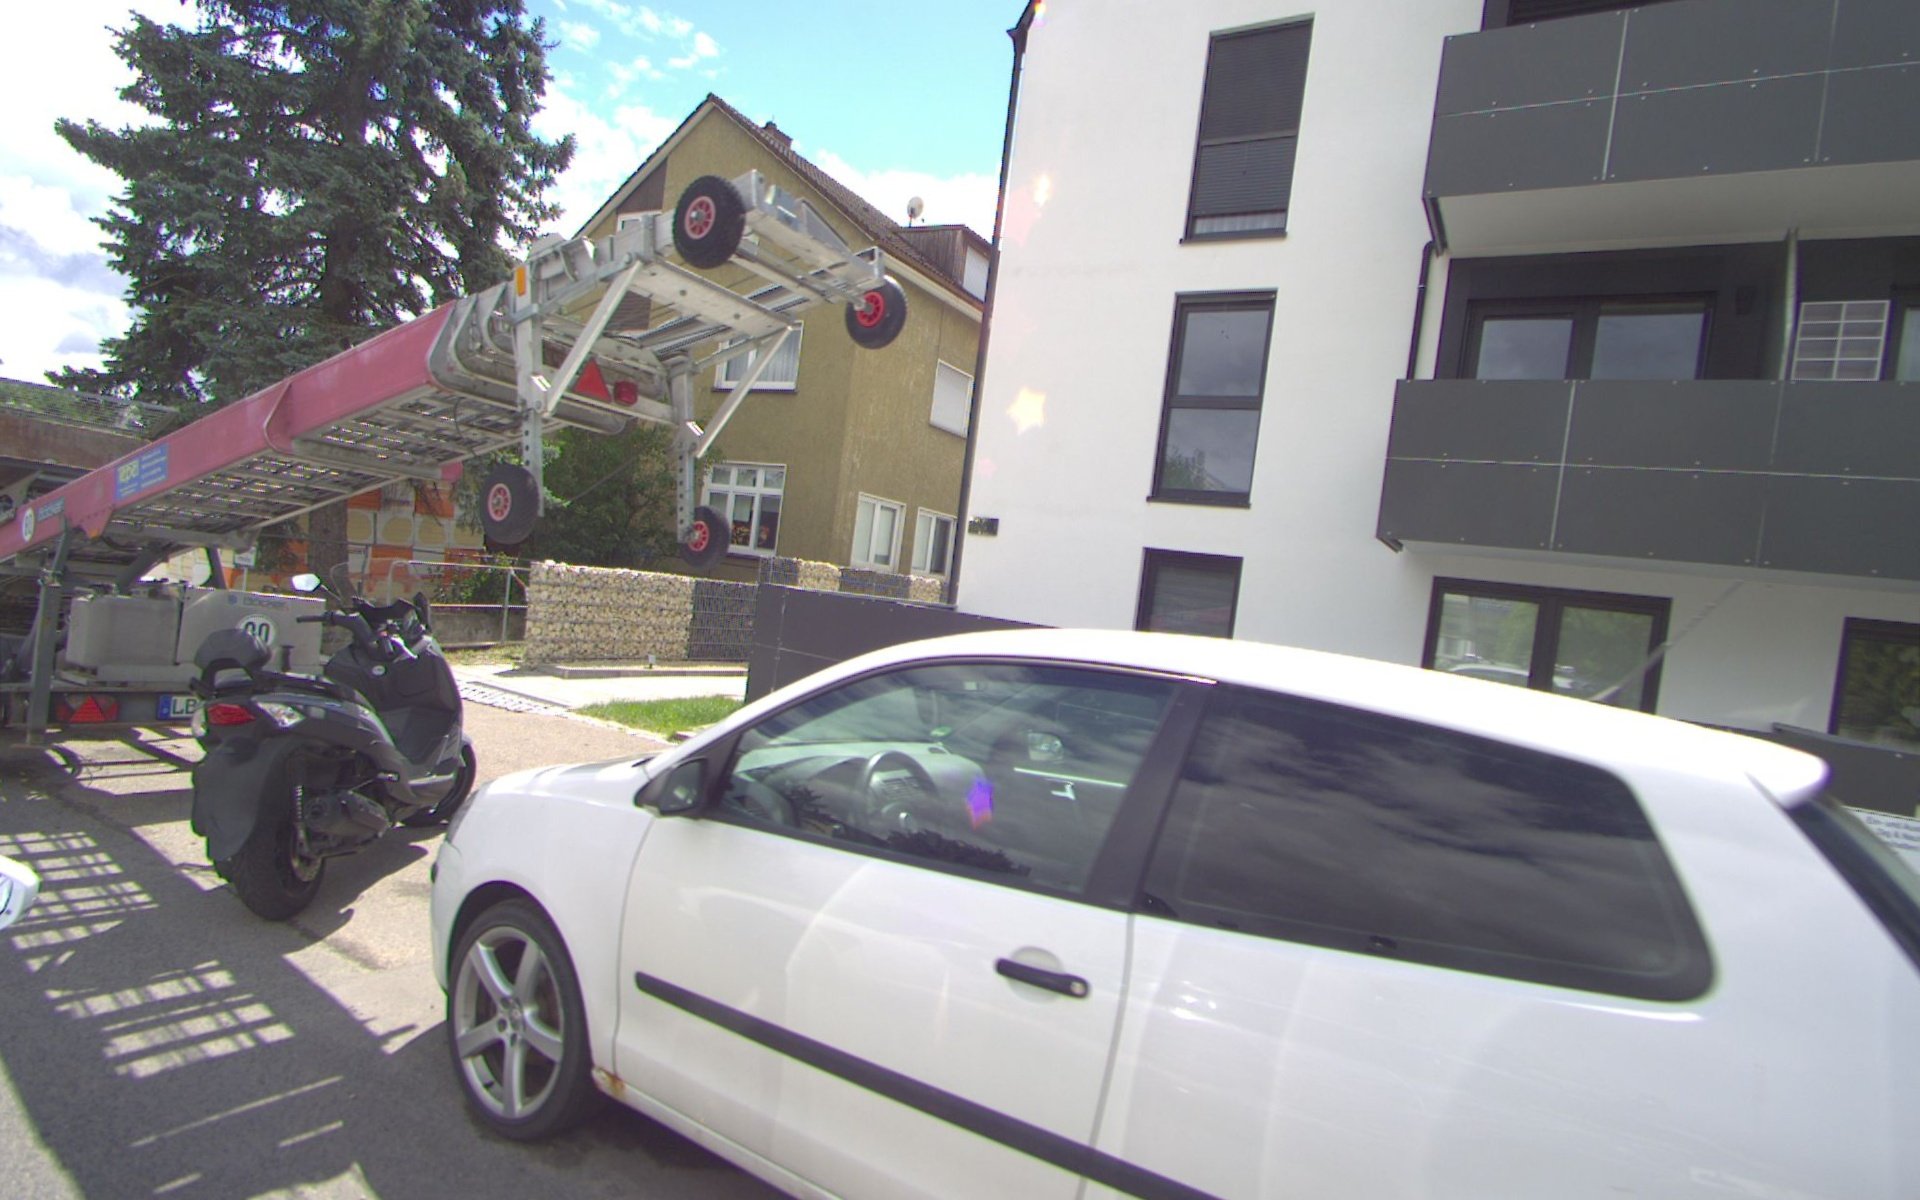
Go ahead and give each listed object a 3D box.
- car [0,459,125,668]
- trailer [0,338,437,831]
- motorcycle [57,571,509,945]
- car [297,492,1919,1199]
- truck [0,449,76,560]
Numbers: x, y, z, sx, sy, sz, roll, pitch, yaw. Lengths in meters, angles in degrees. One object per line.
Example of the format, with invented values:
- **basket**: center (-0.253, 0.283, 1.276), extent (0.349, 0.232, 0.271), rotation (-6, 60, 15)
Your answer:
- **car**: center (-10.120, -0.556, 9.503), extent (4.633, 1.749, 1.876), rotation (7, 1, 30)
- **trailer**: center (-5.348, -0.223, 6.220), extent (4.045, 2.172, 1.774), rotation (7, 1, 31)
- **motorcycle**: center (-2.747, 0.543, 4.390), extent (0.704, 1.225, 1.821), rotation (7, 1, -3)
- **car**: center (0.087, 0.638, 2.716), extent (3.919, 1.451, 1.719), rotation (7, 2, 34)
- **truck**: center (-21.362, -2.231, 21.753), extent (5.295, 2.111, 1.829), rotation (9, 5, 31)
